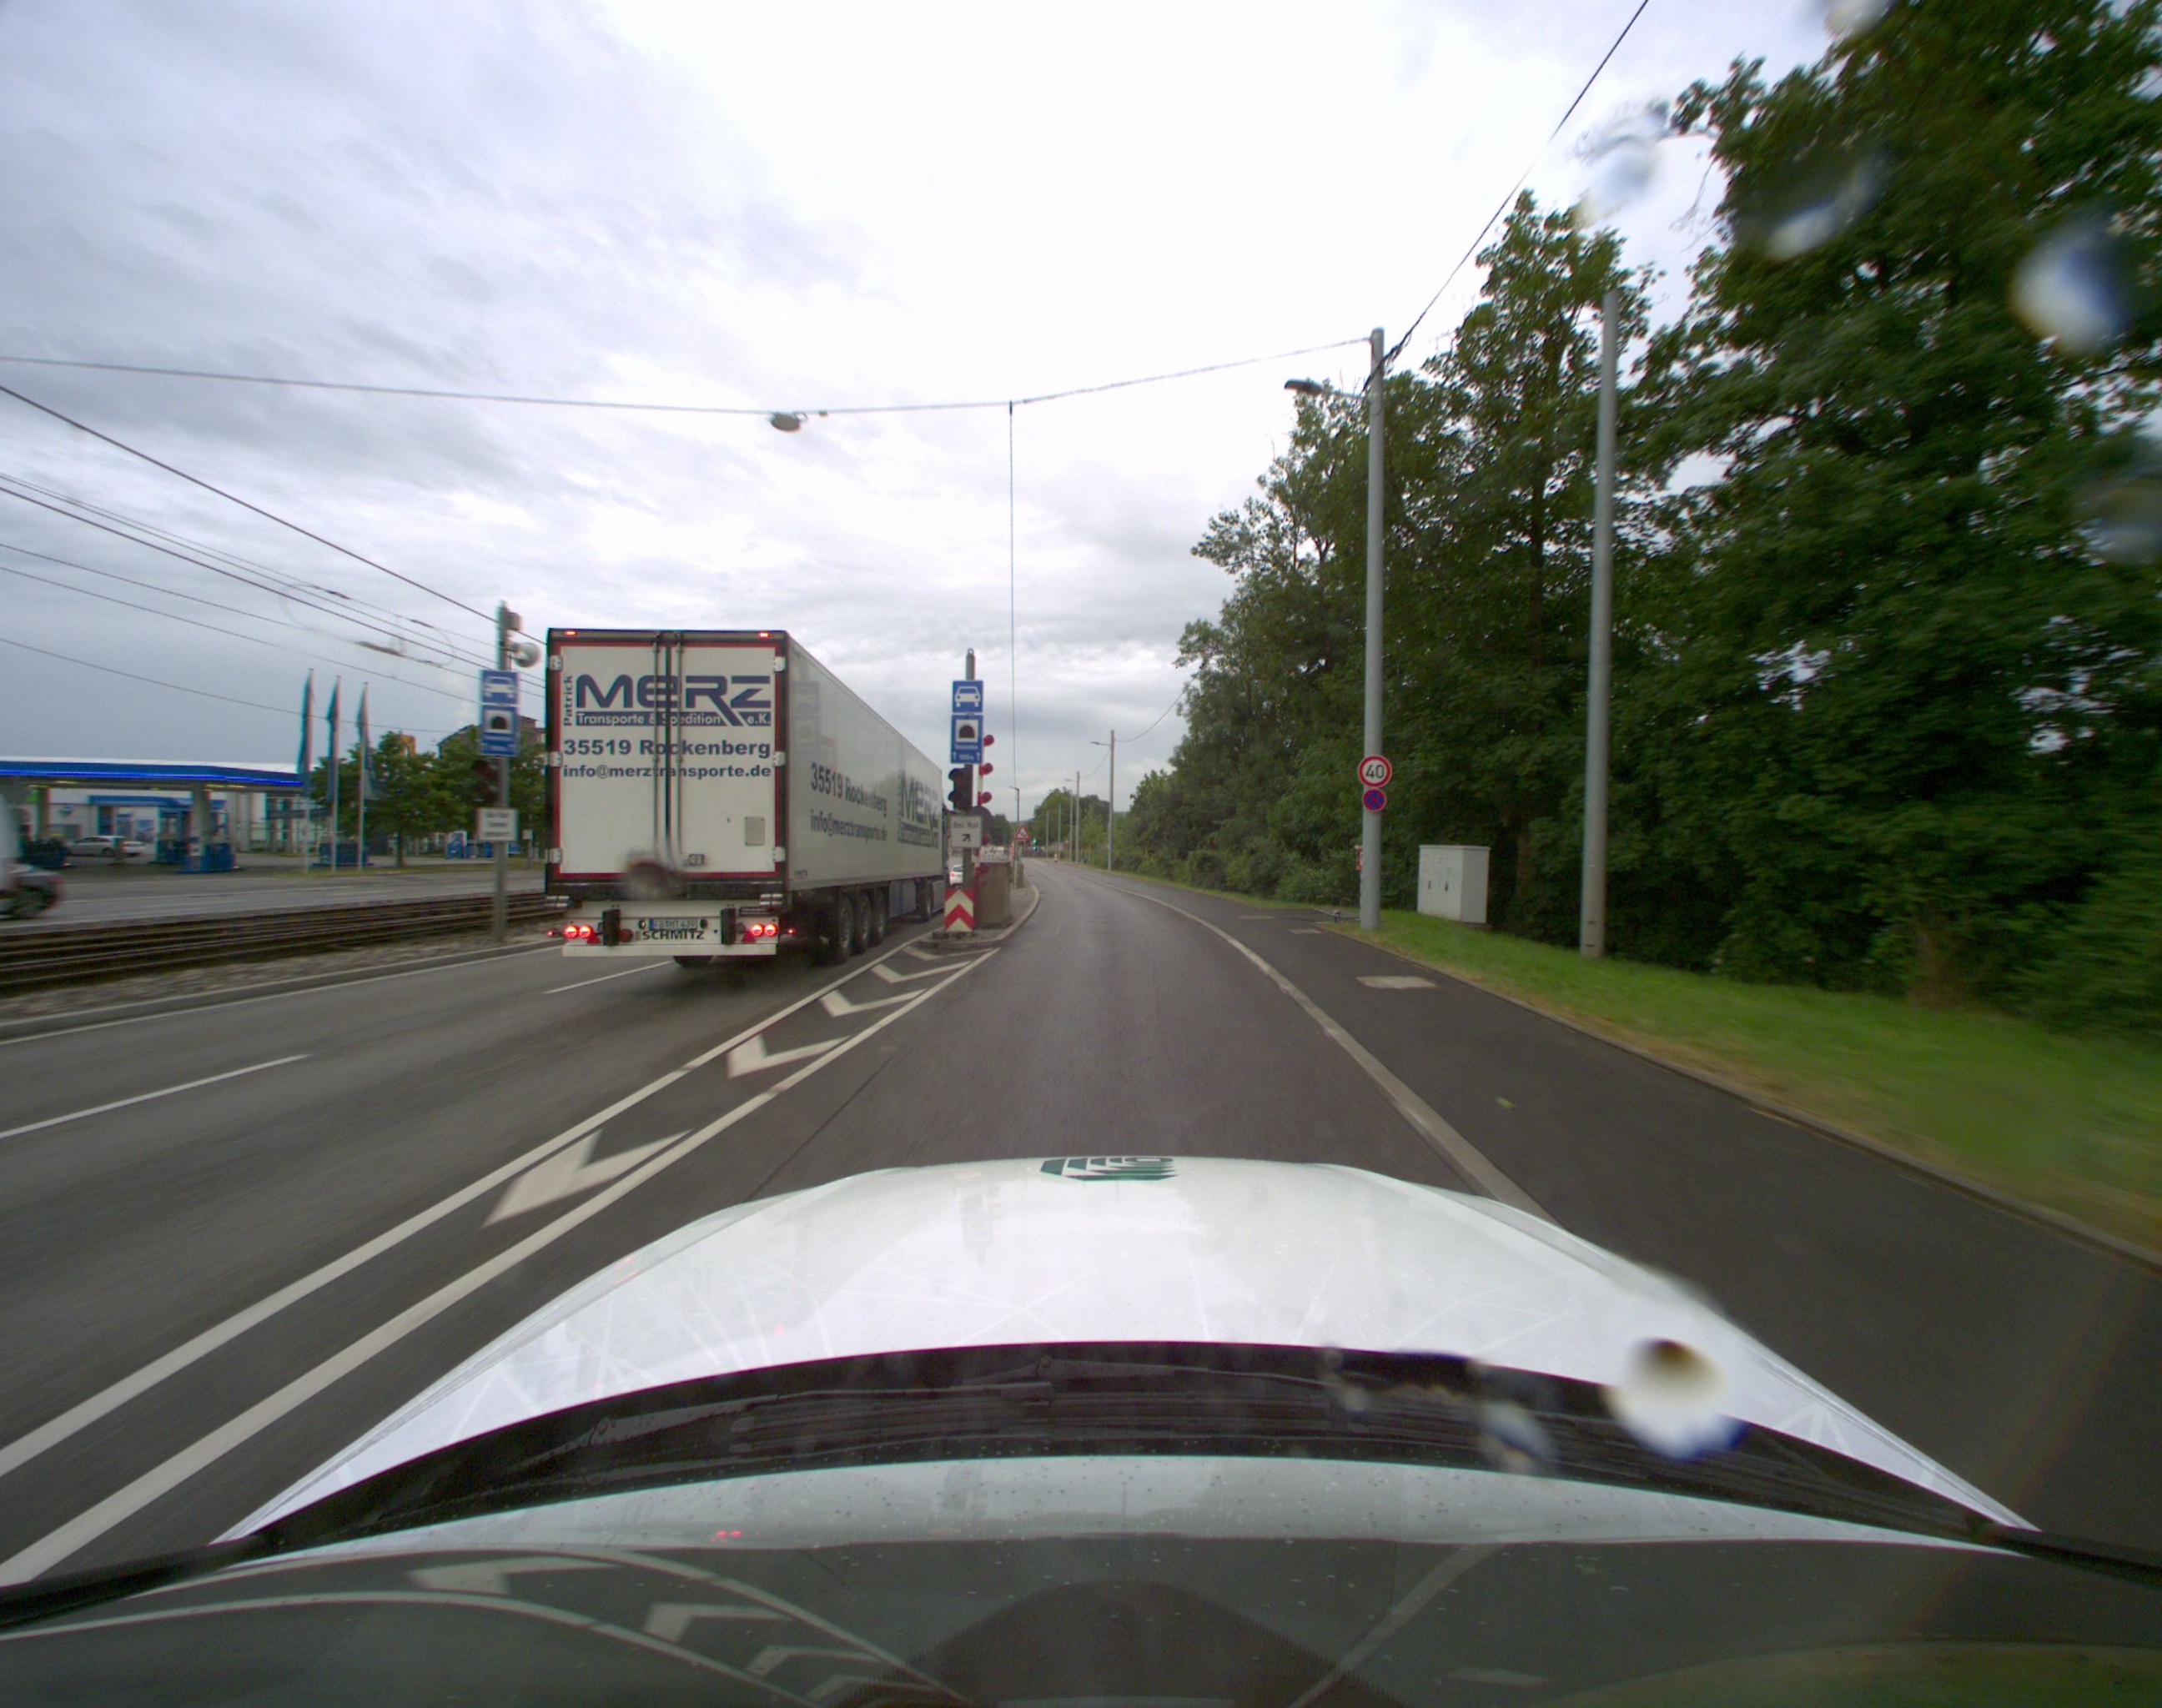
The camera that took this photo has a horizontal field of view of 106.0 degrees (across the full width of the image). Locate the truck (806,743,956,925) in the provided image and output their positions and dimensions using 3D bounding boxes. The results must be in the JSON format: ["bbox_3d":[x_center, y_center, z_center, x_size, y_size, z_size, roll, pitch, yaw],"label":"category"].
[{"bbox_3d":[-5.154,-0.501,22.181,2.750,4.205,6.299,-1,0,-3],"label":"truck"}]

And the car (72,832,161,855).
[{"bbox_3d":[-69.466,-0.748,58.679,3.978,1.640,1.855,1,0,-4],"label":"car"}]

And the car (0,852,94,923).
[{"bbox_3d":[-23.971,0.710,16.972,1.739,1.515,4.332,0,0,-5],"label":"car"}]

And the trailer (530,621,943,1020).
[{"bbox_3d":[-4.794,-0.413,15.344,2.756,4.252,13.168,-1,0,-3],"label":"trailer"}]

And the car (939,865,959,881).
[{"bbox_3d":[-13.380,1.924,82.596,1.679,1.446,3.994,0,2,-5],"label":"car"}]

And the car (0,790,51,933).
[{"bbox_3d":[-20.385,0.126,12.349,2.048,2.598,6.153,1,0,-6],"label":"car"}]

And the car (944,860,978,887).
[{"bbox_3d":[-7.305,1.186,50.005,1.807,1.423,3.994,0,2,-5],"label":"car"}]

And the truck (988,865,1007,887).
[{"bbox_3d":[-16.120,4.224,157.795,3.513,4.040,8.060,0,0,-5],"label":"truck"}]
